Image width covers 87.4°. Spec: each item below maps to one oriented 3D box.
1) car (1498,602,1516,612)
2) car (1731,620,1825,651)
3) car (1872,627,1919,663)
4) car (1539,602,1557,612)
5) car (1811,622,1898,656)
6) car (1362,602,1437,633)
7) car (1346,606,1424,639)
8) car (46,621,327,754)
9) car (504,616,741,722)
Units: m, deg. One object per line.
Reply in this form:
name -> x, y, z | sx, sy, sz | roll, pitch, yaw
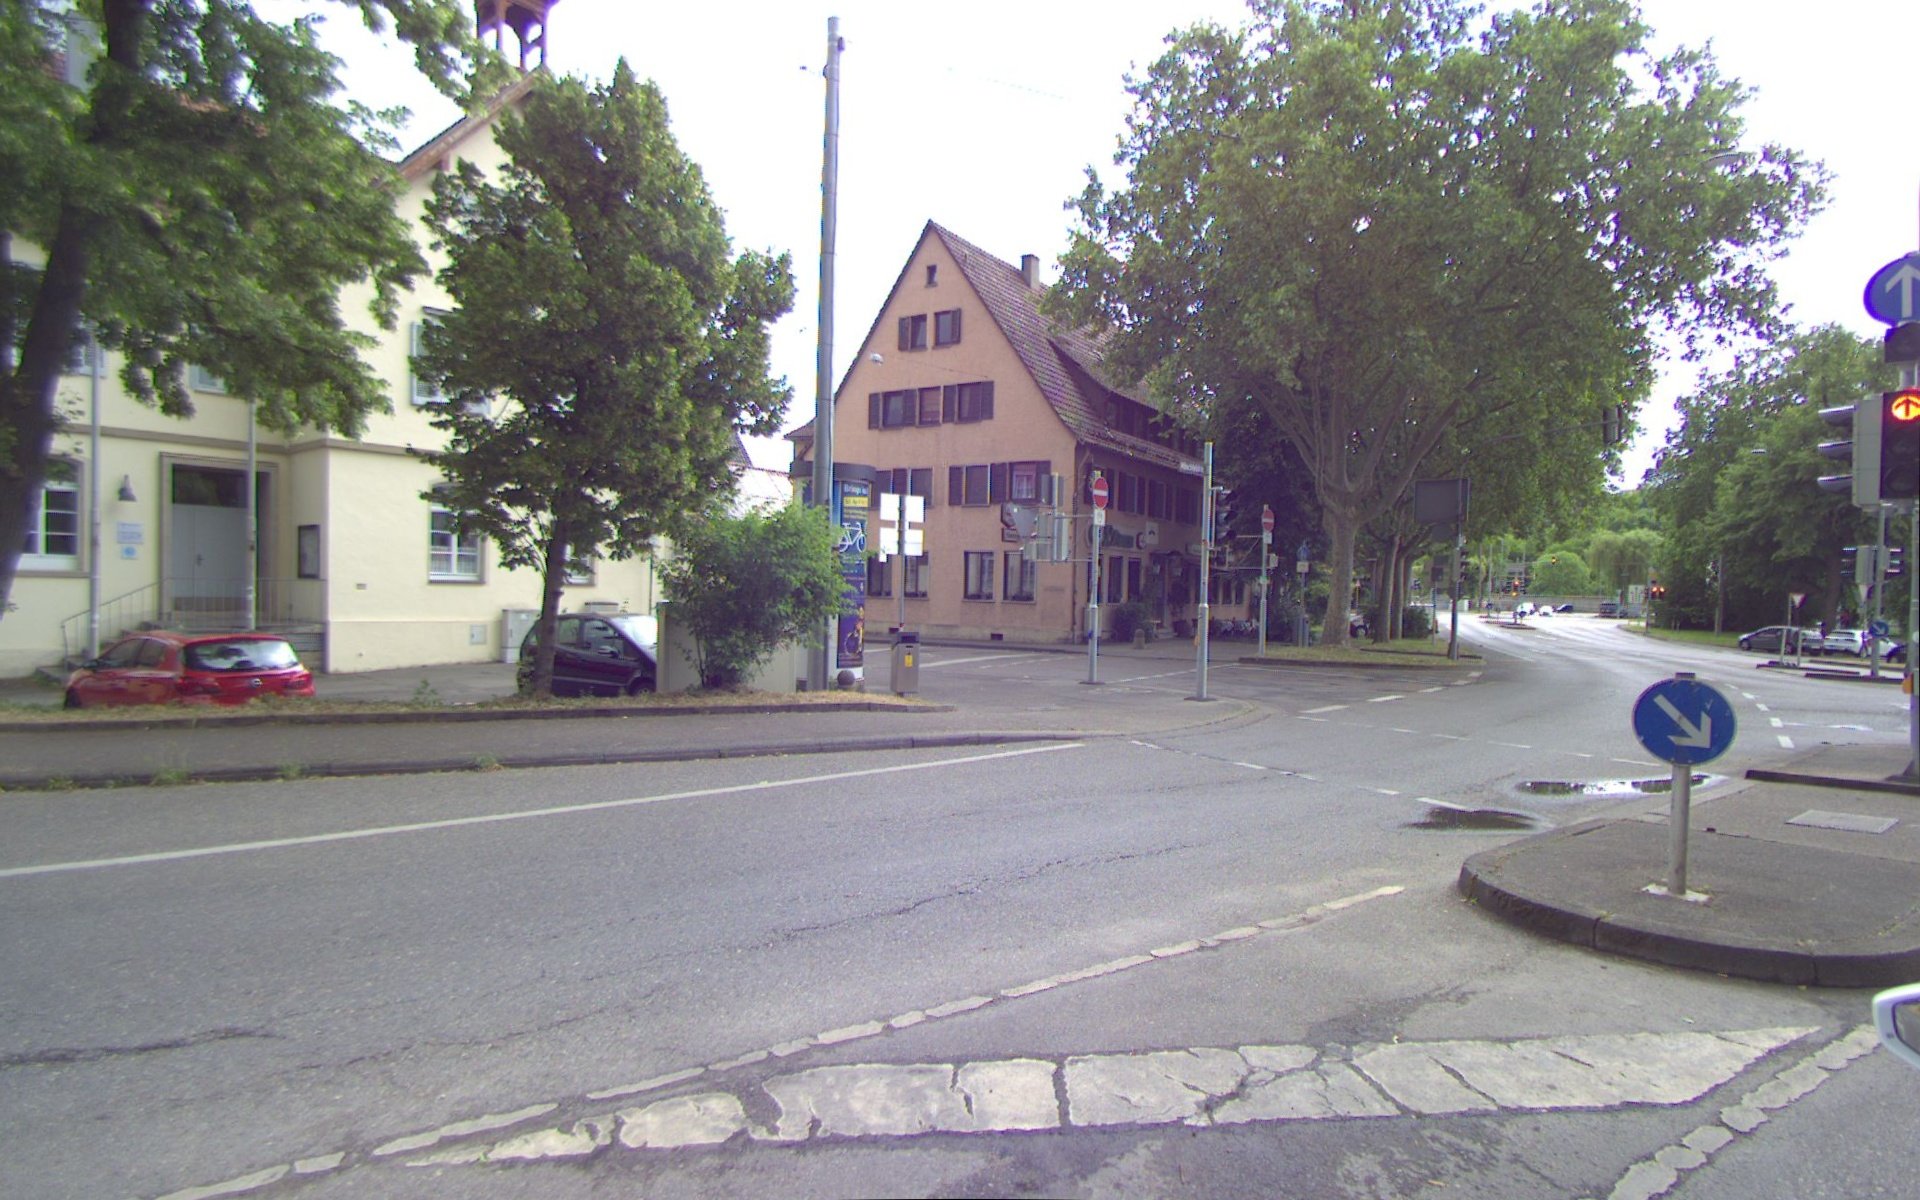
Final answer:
car -> 85.313, 1.081, 156.650 | 1.553, 1.506, 3.337 | 3, 0, 12
car -> 43.820, 1.880, 53.908 | 1.592, 1.485, 3.778 | 2, 0, -11
car -> 39.448, 1.862, 40.765 | 1.746, 1.370, 3.326 | 2, 0, -2
car -> 90.899, 1.057, 155.337 | 1.469, 1.436, 3.028 | 3, 0, 11
car -> 47.464, 2.041, 53.327 | 3.696, 1.662, 1.859 | 2, 0, -19
car -> 25.731, 1.010, 58.784 | 3.924, 1.706, 1.998 | 1, 0, 25
car -> 23.999, 1.254, 56.708 | 3.924, 1.706, 1.998 | 1, 0, 25
car -> -10.274, 1.048, 13.304 | 3.653, 1.401, 1.659 | 2, 0, 30
car -> -5.530, 1.053, 16.442 | 3.507, 1.459, 1.644 | 2, 0, 26
